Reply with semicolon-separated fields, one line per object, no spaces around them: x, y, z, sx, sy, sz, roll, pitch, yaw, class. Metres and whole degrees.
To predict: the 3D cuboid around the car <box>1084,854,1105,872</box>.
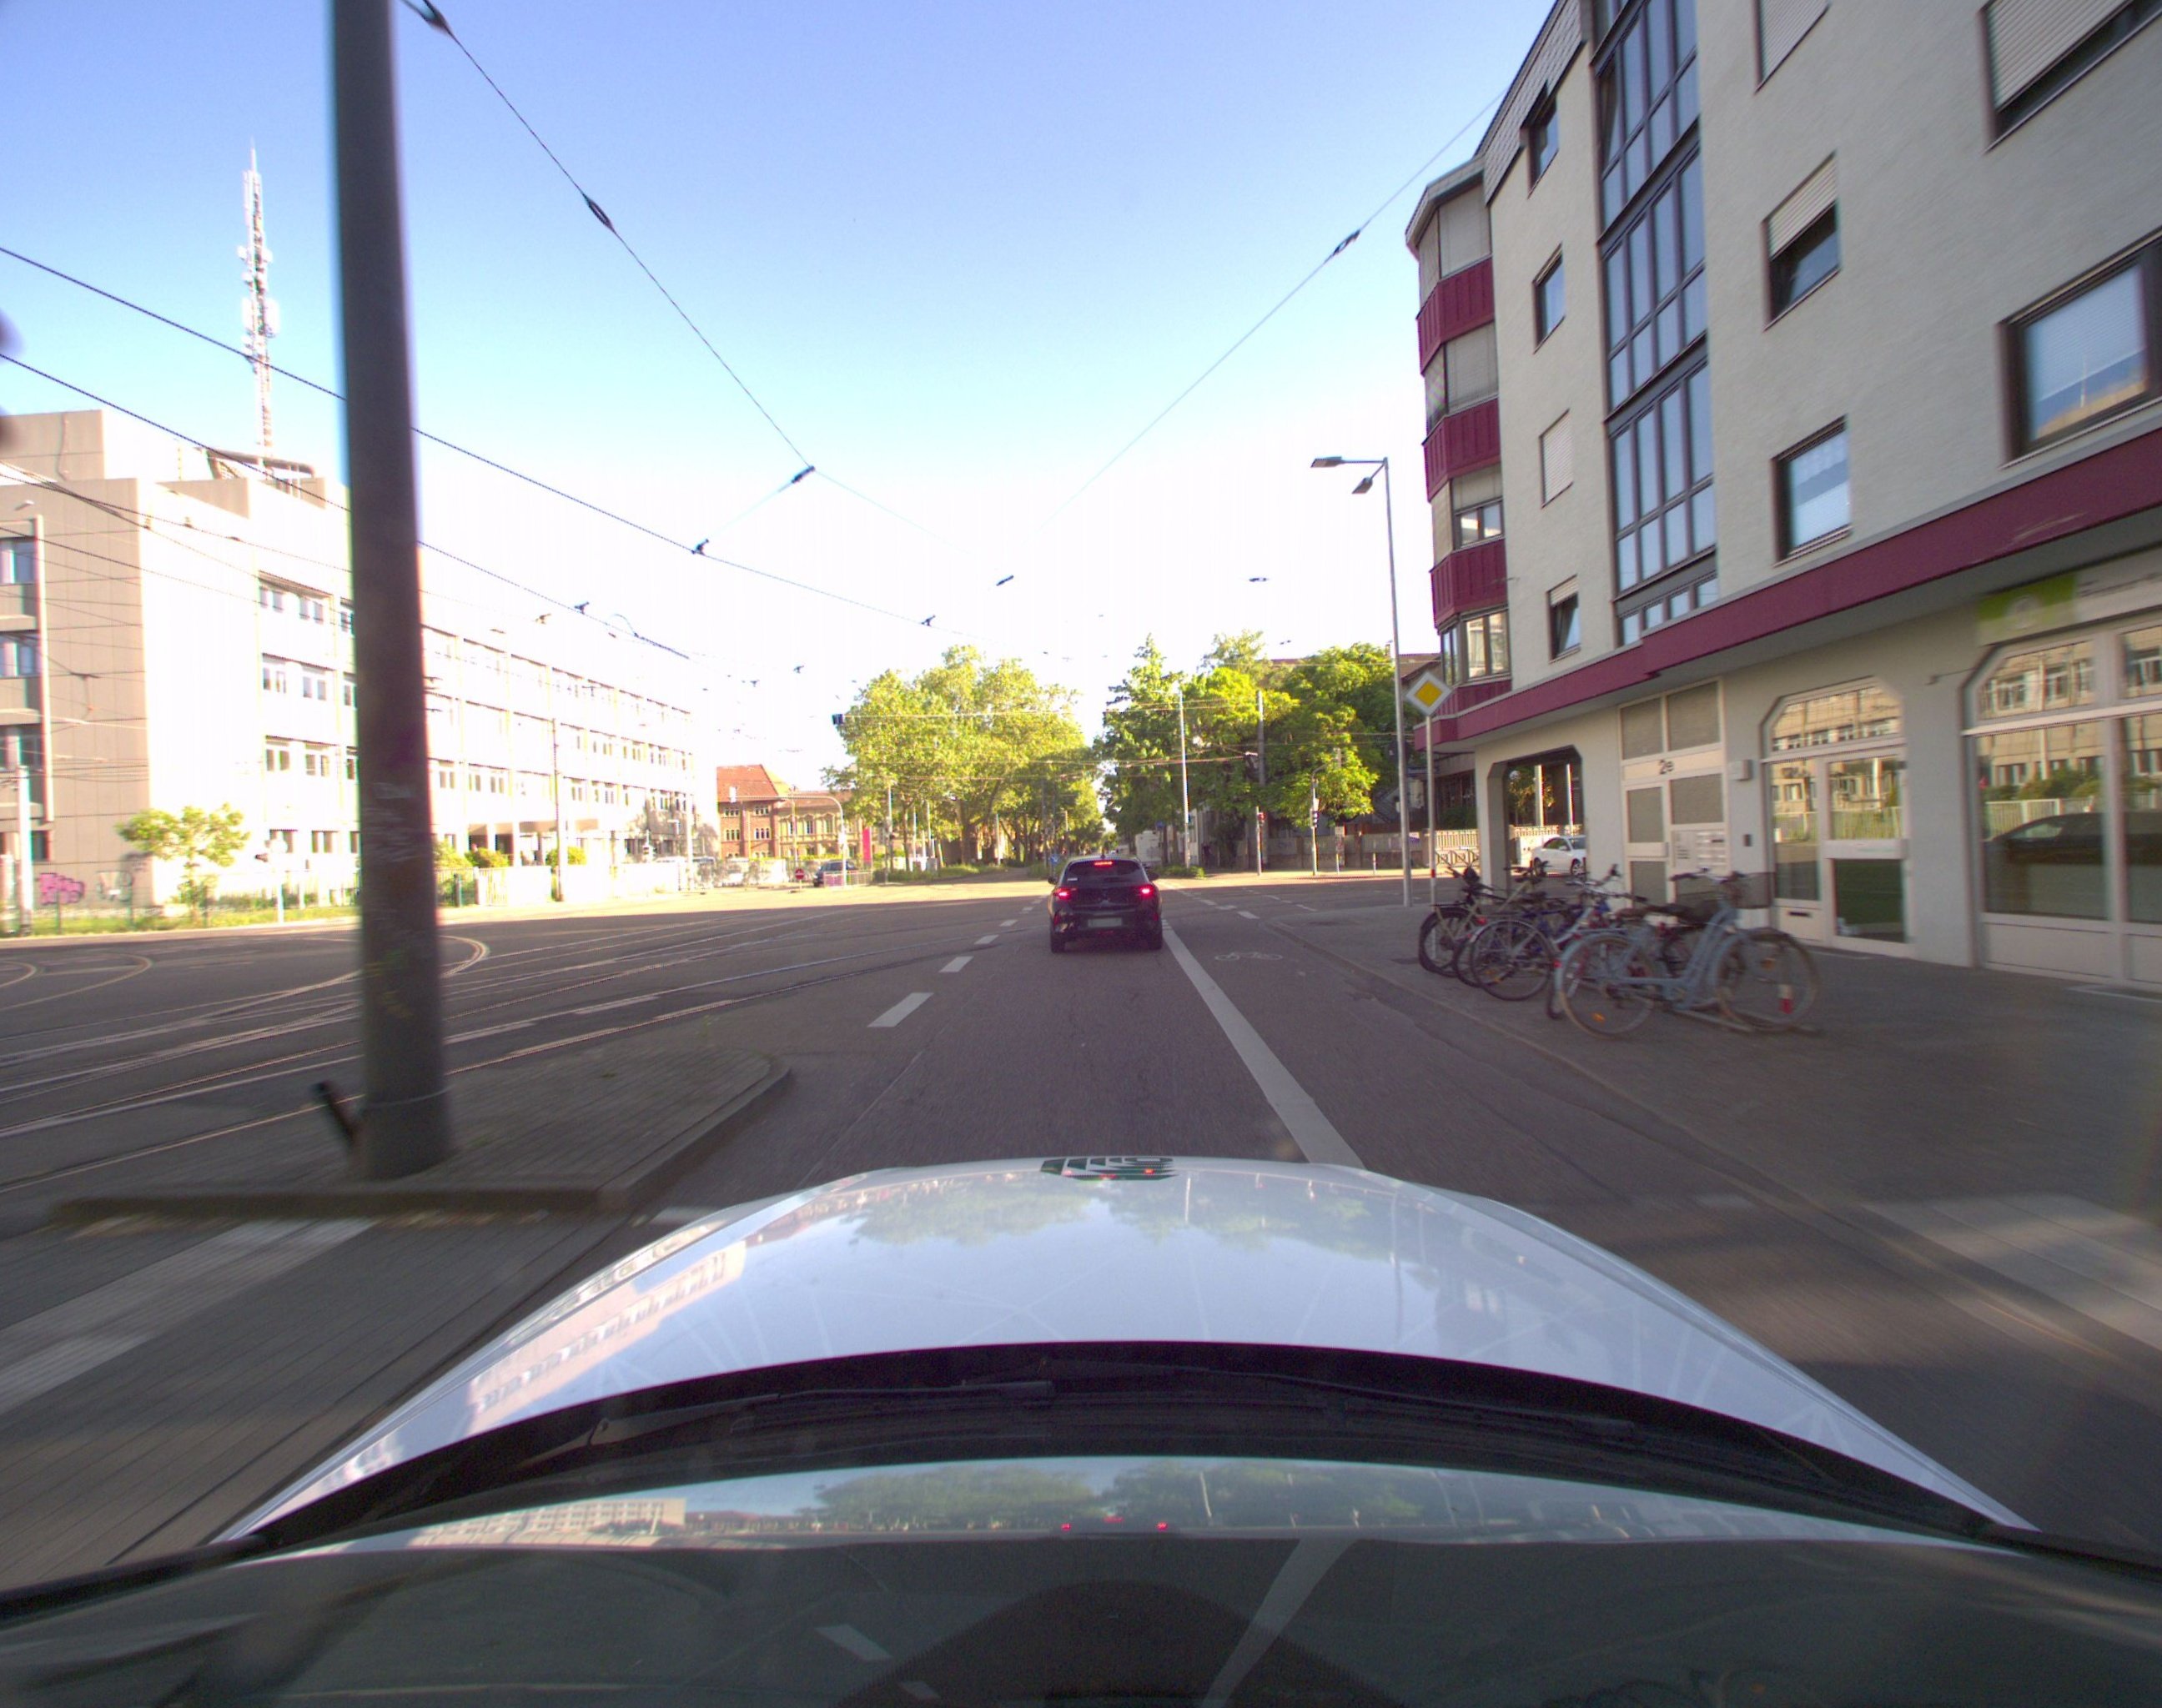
1.302;0.802;77.556;1.783;1.510;3.876;-4;0;2;car

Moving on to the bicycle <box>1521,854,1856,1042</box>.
4.266;0.633;5.795;1.934;1.170;0.572;-3;0;-1;bicycle

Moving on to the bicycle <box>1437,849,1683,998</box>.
4.247;0.608;7.303;1.822;1.221;0.497;-3;0;5;bicycle

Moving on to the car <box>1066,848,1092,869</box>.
-0.146;0.340;67.722;1.986;1.627;4.471;0;0;1;car

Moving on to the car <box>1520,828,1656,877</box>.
17.175;-0.088;27.929;1.841;1.455;4.905;-2;0;3;car

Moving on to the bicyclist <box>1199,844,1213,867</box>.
8.474;0.126;55.252;0.748;1.510;0.700;-2;0;-6;bicyclist

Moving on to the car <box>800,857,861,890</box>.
-16.243;1.233;53.128;1.982;1.947;4.435;-2;0;9;car

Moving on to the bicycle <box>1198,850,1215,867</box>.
8.495;0.297;55.264;0.638;1.070;1.947;-3;0;-5;bicycle

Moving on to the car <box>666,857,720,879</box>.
-32.834;1.161;68.996;1.983;1.703;4.386;-3;0;7;car

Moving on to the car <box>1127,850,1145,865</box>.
6.081;0.376;89.875;1.783;1.510;3.876;-4;0;2;car

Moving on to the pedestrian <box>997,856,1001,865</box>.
-14.945;1.198;147.834;0.656;1.622;0.615;0;0;1;pedestrian

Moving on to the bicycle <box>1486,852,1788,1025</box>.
4.339;0.630;6.423;1.972;1.199;0.590;-3;0;-3;bicycle

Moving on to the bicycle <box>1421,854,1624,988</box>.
4.226;0.634;7.875;1.614;1.199;0.497;-3;0;6;bicycle

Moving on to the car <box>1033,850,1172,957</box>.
0.416;0.692;13.597;1.897;1.425;4.219;-2;0;3;car

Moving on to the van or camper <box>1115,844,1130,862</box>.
6.951;-0.161;136.509;2.476;2.993;5.438;-1;0;3;van or camper

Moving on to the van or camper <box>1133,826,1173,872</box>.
5.476;-0.358;62.998;2.367;3.125;7.552;-5;0;1;van or camper

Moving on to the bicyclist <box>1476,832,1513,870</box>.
17.372;-0.128;34.233;0.925;1.509;1.009;-2;0;-9;bicyclist

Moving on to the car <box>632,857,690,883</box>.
-35.652;1.325;69.256;1.983;2.013;4.734;-3;0;7;car

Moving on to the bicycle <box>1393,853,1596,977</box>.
4.331;0.637;8.617;1.792;1.199;0.546;-3;-1;6;bicycle

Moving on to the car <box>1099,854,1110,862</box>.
4.463;0.711;153.227;1.897;1.425;4.219;-2;0;3;car

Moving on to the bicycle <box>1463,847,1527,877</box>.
17.403;0.326;34.236;2.323;1.119;0.843;-2;0;-10;bicycle

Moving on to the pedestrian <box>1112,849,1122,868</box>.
3.937;0.528;88.809;1.032;2.024;1.213;-2;0;1;pedestrian
